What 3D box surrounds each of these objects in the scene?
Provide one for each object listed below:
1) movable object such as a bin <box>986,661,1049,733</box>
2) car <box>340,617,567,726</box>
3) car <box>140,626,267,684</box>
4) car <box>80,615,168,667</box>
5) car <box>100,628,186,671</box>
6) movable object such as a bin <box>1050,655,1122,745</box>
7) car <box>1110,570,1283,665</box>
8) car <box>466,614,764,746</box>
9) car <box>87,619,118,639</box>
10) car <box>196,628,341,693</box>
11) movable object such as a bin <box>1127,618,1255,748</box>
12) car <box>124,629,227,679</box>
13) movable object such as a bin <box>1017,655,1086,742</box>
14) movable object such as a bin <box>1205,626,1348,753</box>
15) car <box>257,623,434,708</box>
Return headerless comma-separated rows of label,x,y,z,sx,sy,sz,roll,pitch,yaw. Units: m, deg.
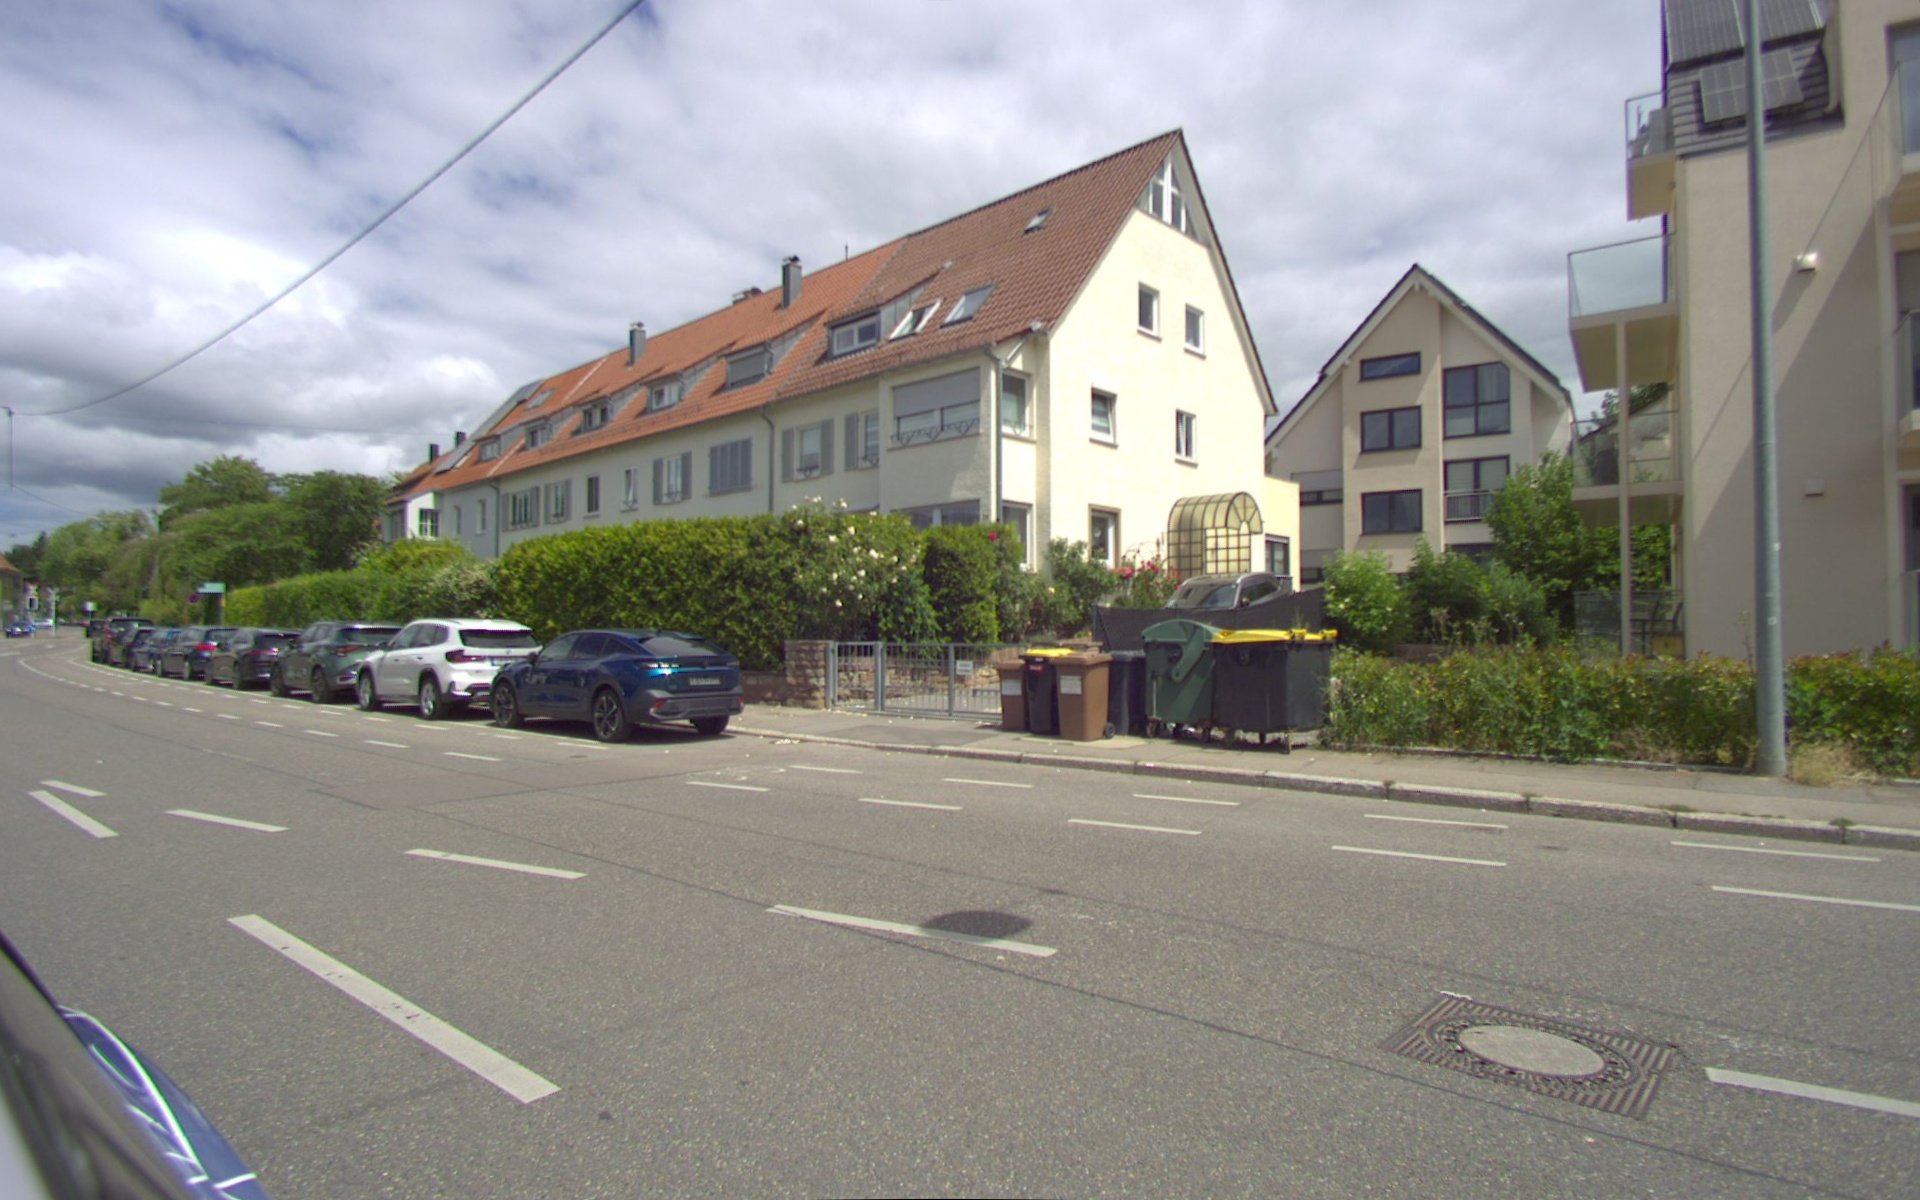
movable object such as a bin,0.761,1.270,13.408,0.614,0.886,0.589,-1,-2,41
car,-8.932,1.143,17.696,4.515,1.663,1.973,-1,-2,41
car,-21.306,1.490,28.442,4.560,1.503,1.760,-1,-2,39
car,-32.727,1.584,39.562,5.404,1.909,1.971,-1,-4,44
car,-28.864,1.698,35.723,4.340,1.428,1.758,-1,-2,43
movable object such as a bin,1.529,1.192,12.268,0.658,1.015,0.589,-1,-2,41
car,4.819,0.331,20.263,1.802,1.719,3.947,-1,-1,40
car,-5.038,1.036,14.523,4.484,1.599,1.974,-1,-3,39
car,-77.192,2.612,91.182,1.892,1.661,4.301,6,-5,-39
car,-17.092,1.424,24.920,4.689,1.419,1.972,-1,-2,43
movable object such as a bin,2.860,0.980,12.511,1.213,1.493,1.055,-1,-2,39
car,-24.677,1.648,31.780,4.438,1.428,1.759,-1,-2,42
movable object such as a bin,1.160,1.232,12.866,0.658,1.032,0.589,-1,-2,41
movable object such as a bin,3.575,0.959,11.428,1.214,1.323,1.054,-1,-2,42
car,-12.992,1.290,21.285,4.689,1.576,1.972,-1,-2,43
